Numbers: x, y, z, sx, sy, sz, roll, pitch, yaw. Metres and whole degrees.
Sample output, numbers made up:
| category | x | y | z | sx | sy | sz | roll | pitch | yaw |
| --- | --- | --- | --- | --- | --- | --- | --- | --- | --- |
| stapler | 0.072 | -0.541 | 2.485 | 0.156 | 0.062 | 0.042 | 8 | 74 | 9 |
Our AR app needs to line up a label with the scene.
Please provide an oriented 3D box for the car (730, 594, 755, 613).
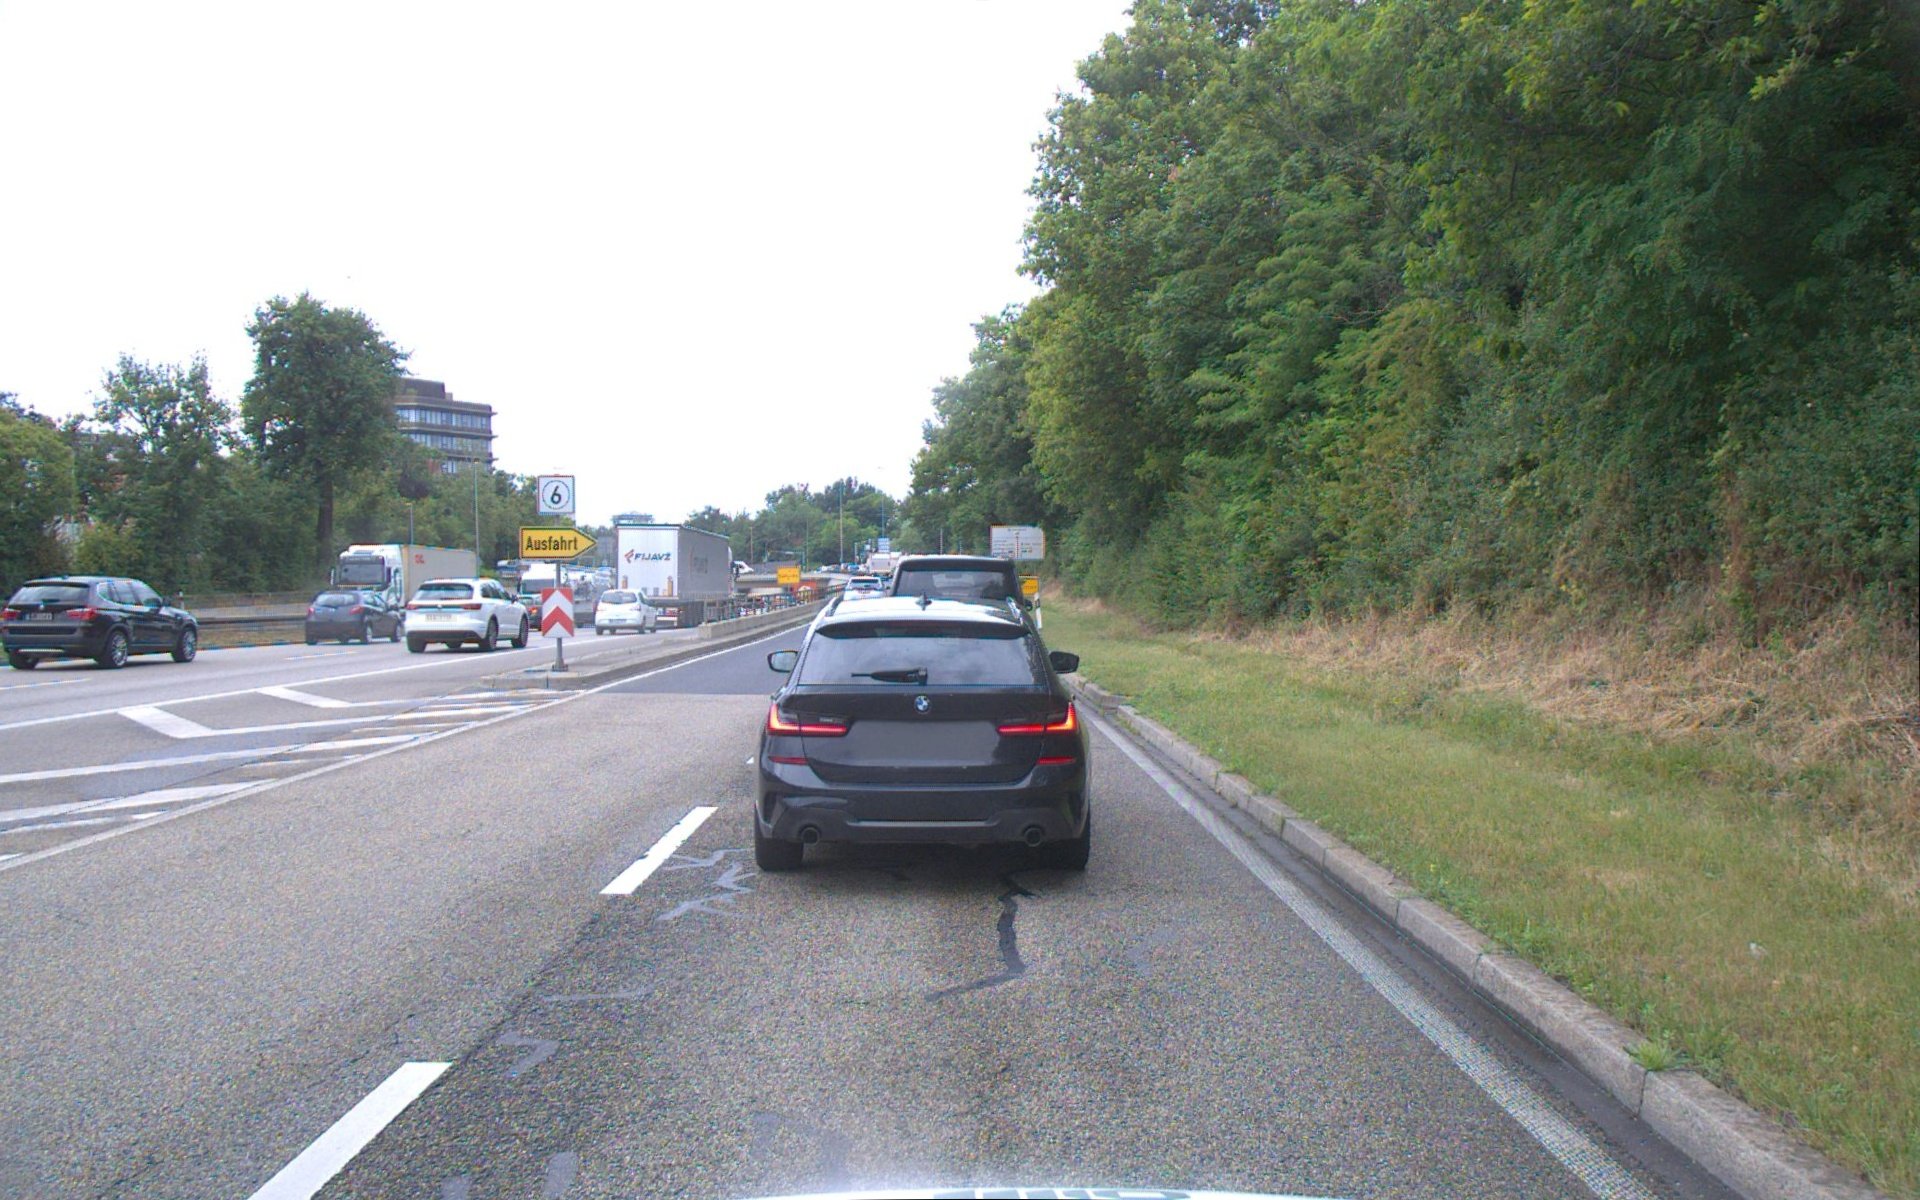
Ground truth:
| category | x | y | z | sx | sy | sz | roll | pitch | yaw |
| --- | --- | --- | --- | --- | --- | --- | --- | --- | --- |
| car | -17.237 | 0.305 | 131.406 | 1.561 | 1.457 | 3.062 | -1 | 0 | 0 |

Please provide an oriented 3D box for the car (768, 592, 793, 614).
| category | x | y | z | sx | sy | sz | roll | pitch | yaw |
| --- | --- | --- | --- | --- | --- | --- | --- | --- | --- |
| car | -12.716 | 0.224 | 117.455 | 1.418 | 1.516 | 3.062 | -1 | 0 | 0 |

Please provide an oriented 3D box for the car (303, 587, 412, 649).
| category | x | y | z | sx | sy | sz | roll | pitch | yaw |
| --- | --- | --- | --- | --- | --- | --- | --- | --- | --- |
| car | -16.743 | 0.461 | 46.114 | 1.653 | 1.636 | 4.007 | 1 | 0 | -2 |

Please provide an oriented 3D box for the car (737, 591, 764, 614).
| category | x | y | z | sx | sy | sz | roll | pitch | yaw |
| --- | --- | --- | --- | --- | --- | --- | --- | --- | --- |
| car | -13.526 | 0.157 | 107.004 | 1.349 | 1.422 | 3.062 | -1 | 1 | 0 |

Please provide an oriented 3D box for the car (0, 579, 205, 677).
| category | x | y | z | sx | sy | sz | roll | pitch | yaw |
| --- | --- | --- | --- | --- | --- | --- | --- | --- | --- |
| car | -16.165 | 0.473 | 31.337 | 1.852 | 1.711 | 4.305 | -1 | 1 | -2 |

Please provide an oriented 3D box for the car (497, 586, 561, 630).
| category | x | y | z | sx | sy | sz | roll | pitch | yaw |
| --- | --- | --- | --- | --- | --- | --- | --- | --- | --- |
| car | -16.942 | 0.276 | 65.161 | 1.653 | 1.660 | 3.733 | 1 | 0 | -2 |

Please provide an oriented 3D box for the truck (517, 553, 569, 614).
| category | x | y | z | sx | sy | sz | roll | pitch | yaw |
| --- | --- | --- | --- | --- | --- | --- | --- | --- | --- |
| truck | -28.349 | -1.097 | 112.445 | 2.543 | 4.060 | 3.999 | -1 | 0 | -1 |

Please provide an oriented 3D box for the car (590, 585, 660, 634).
| category | x | y | z | sx | sy | sz | roll | pitch | yaw |
| --- | --- | --- | --- | --- | --- | --- | --- | --- | --- |
| car | -11.271 | 0.305 | 55.776 | 1.733 | 1.576 | 3.491 | -1 | 1 | -2 |

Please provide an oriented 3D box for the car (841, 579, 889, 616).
| category | x | y | z | sx | sy | sz | roll | pitch | yaw |
| --- | --- | --- | --- | --- | --- | --- | --- | --- | --- |
| car | -4.249 | -0.127 | 74.649 | 1.891 | 1.624 | 3.877 | -1 | 1 | 0 |

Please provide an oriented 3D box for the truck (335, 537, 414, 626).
| category | x | y | z | sx | sy | sz | roll | pitch | yaw |
| --- | --- | --- | --- | --- | --- | --- | --- | --- | --- |
| truck | -27.711 | -0.880 | 78.415 | 2.357 | 4.090 | 3.999 | -1 | 0 | -2 |

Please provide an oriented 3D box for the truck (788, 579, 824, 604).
| category | x | y | z | sx | sy | sz | roll | pitch | yaw |
| --- | --- | --- | --- | --- | --- | --- | --- | --- | --- |
| truck | -16.282 | -0.935 | 175.154 | 3.208 | 2.553 | 7.659 | -1 | 0 | -1 |

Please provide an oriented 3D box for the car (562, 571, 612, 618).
| category | x | y | z | sx | sy | sz | roll | pitch | yaw |
| --- | --- | --- | --- | --- | --- | --- | --- | --- | --- |
| car | -16.976 | -0.263 | 75.417 | 1.414 | 2.080 | 3.680 | -1 | 0 | 0 |

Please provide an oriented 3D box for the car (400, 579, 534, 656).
| category | x | y | z | sx | sy | sz | roll | pitch | yaw |
| --- | --- | --- | --- | --- | --- | --- | --- | --- | --- |
| car | -11.781 | 0.379 | 39.842 | 1.906 | 1.721 | 4.506 | -1 | 1 | -1 |

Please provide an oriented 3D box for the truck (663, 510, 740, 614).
| category | x | y | z | sx | sy | sz | roll | pitch | yaw |
| --- | --- | --- | --- | --- | --- | --- | --- | --- | --- |
| truck | -12.276 | -1.777 | 78.811 | 3.021 | 4.780 | 4.231 | 1 | 0 | -1 |

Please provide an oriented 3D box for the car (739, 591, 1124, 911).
| category | x | y | z | sx | sy | sz | roll | pitch | yaw |
| --- | --- | --- | --- | --- | --- | --- | --- | --- | --- |
| car | -0.203 | 0.694 | 9.775 | 1.809 | 1.492 | 3.998 | 0 | 0 | -2 |

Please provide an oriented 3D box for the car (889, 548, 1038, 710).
| category | x | y | z | sx | sy | sz | roll | pitch | yaw |
| --- | --- | --- | --- | --- | --- | --- | --- | --- | --- |
| car | 0.029 | 0.328 | 21.579 | 1.759 | 1.904 | 4.000 | 0 | 0 | 0 |

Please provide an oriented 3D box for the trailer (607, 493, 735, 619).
| category | x | y | z | sx | sy | sz | roll | pitch | yaw |
| --- | --- | --- | --- | --- | --- | --- | --- | --- | --- |
| trailer | -12.185 | -1.741 | 71.342 | 3.069 | 4.807 | 14.556 | 1 | 0 | -1 |

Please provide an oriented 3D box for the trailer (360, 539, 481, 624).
| category | x | y | z | sx | sy | sz | roll | pitch | yaw |
| --- | --- | --- | --- | --- | --- | --- | --- | --- | --- |
| trailer | -27.905 | -0.941 | 86.287 | 2.349 | 4.099 | 13.074 | -1 | 0 | -1 |
